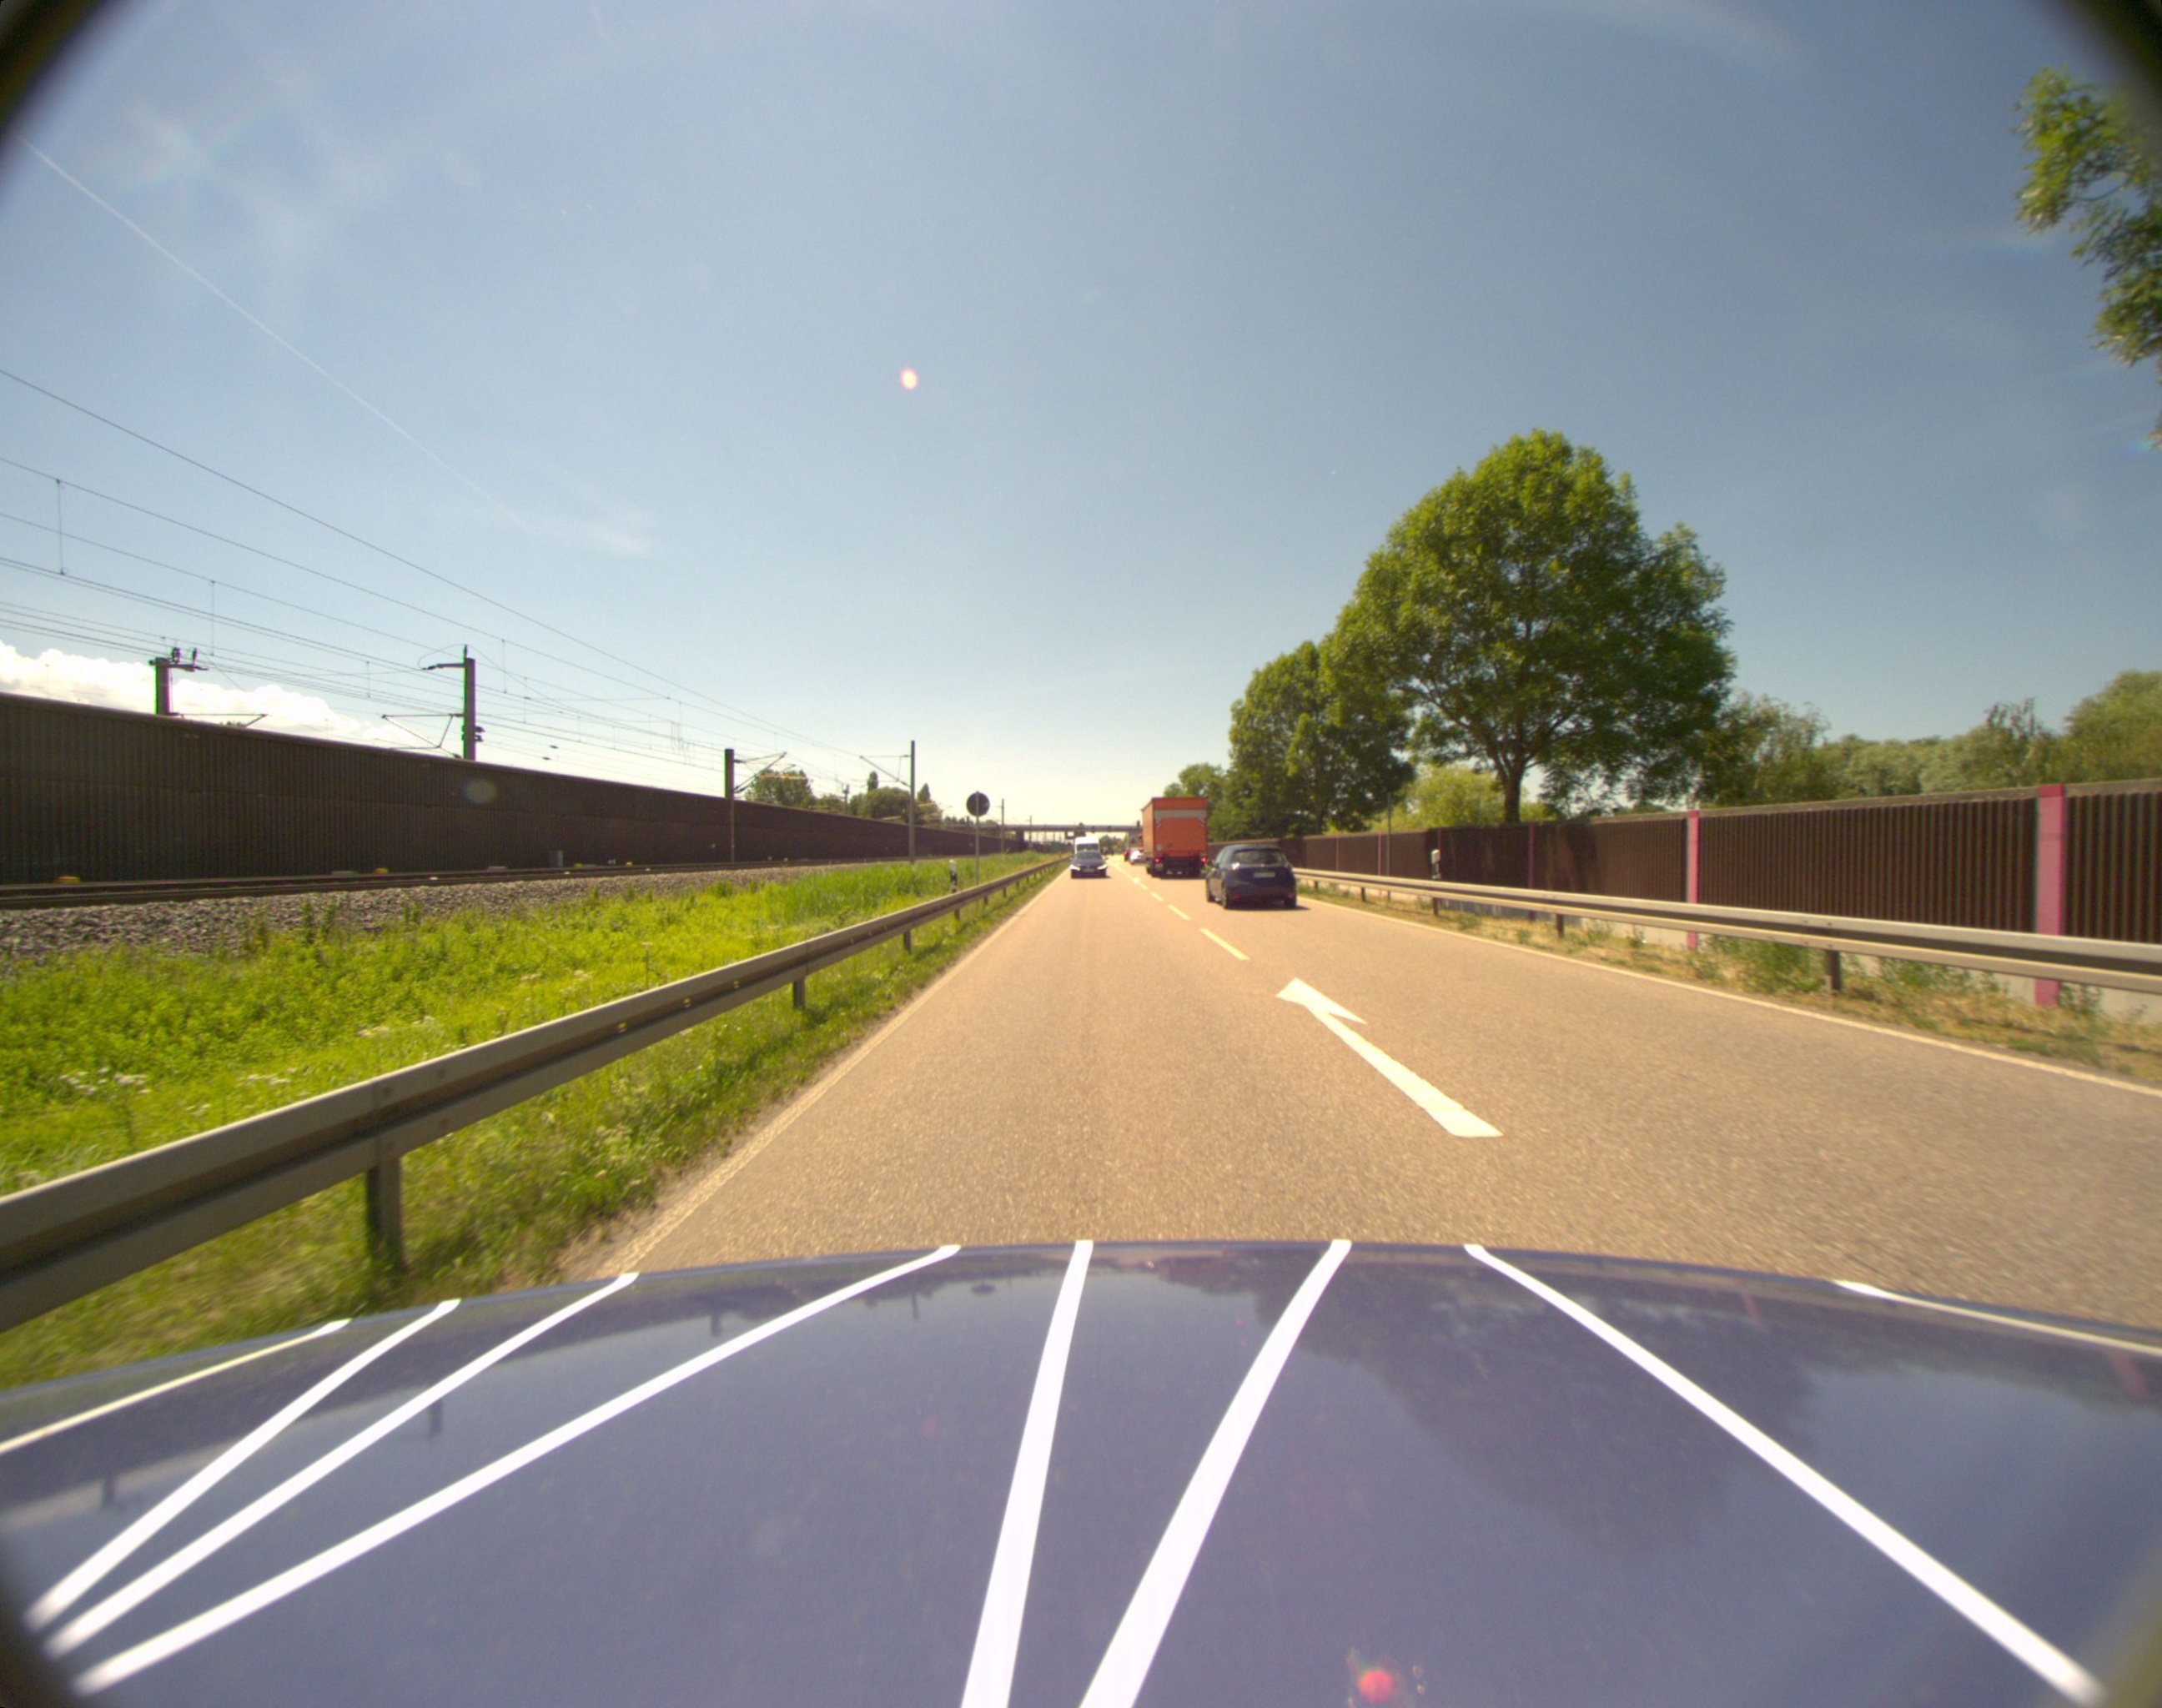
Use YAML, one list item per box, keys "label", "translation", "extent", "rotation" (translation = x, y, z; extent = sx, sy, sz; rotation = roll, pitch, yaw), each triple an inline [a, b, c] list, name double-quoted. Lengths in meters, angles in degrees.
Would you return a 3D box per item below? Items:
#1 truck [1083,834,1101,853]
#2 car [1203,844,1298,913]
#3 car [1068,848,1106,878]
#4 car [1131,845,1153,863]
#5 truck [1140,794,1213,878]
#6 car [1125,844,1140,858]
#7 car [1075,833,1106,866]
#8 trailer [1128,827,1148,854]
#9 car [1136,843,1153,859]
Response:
- label: "truck"
  translation: [1.920, -1.735, 128.515]
  extent: [2.693, 3.177, 9.177]
  rotation: [0, 1, 2]
- label: "car"
  translation: [4.221, 0.564, 19.432]
  extent: [1.626, 1.568, 3.763]
  rotation: [-1, 0, 1]
- label: "car"
  translation: [0.386, 0.439, 40.276]
  extent: [1.847, 1.415, 4.562]
  rotation: [-2, 1, 2]
- label: "car"
  translation: [5.329, -0.029, 67.066]
  extent: [1.689, 1.451, 4.616]
  rotation: [-2, 1, 2]
- label: "truck"
  translation: [4.831, -0.913, 40.231]
  extent: [2.799, 3.818, 9.322]
  rotation: [-2, 1, 1]
- label: "car"
  translation: [6.152, -0.313, 90.069]
  extent: [1.720, 1.580, 4.535]
  rotation: [-1, 1, 5]
- label: "car"
  translation: [0.799, -0.337, 60.370]
  extent: [2.227, 2.480, 5.983]
  rotation: [-1, 0, 2]
- label: "trailer"
  translation: [9.116, -2.145, 123.540]
  extent: [2.696, 4.022, 14.124]
  rotation: [-2, 1, 2]
- label: "car"
  translation: [6.794, -0.358, 81.836]
  extent: [1.759, 1.622, 4.280]
  rotation: [-1, 0, 4]
